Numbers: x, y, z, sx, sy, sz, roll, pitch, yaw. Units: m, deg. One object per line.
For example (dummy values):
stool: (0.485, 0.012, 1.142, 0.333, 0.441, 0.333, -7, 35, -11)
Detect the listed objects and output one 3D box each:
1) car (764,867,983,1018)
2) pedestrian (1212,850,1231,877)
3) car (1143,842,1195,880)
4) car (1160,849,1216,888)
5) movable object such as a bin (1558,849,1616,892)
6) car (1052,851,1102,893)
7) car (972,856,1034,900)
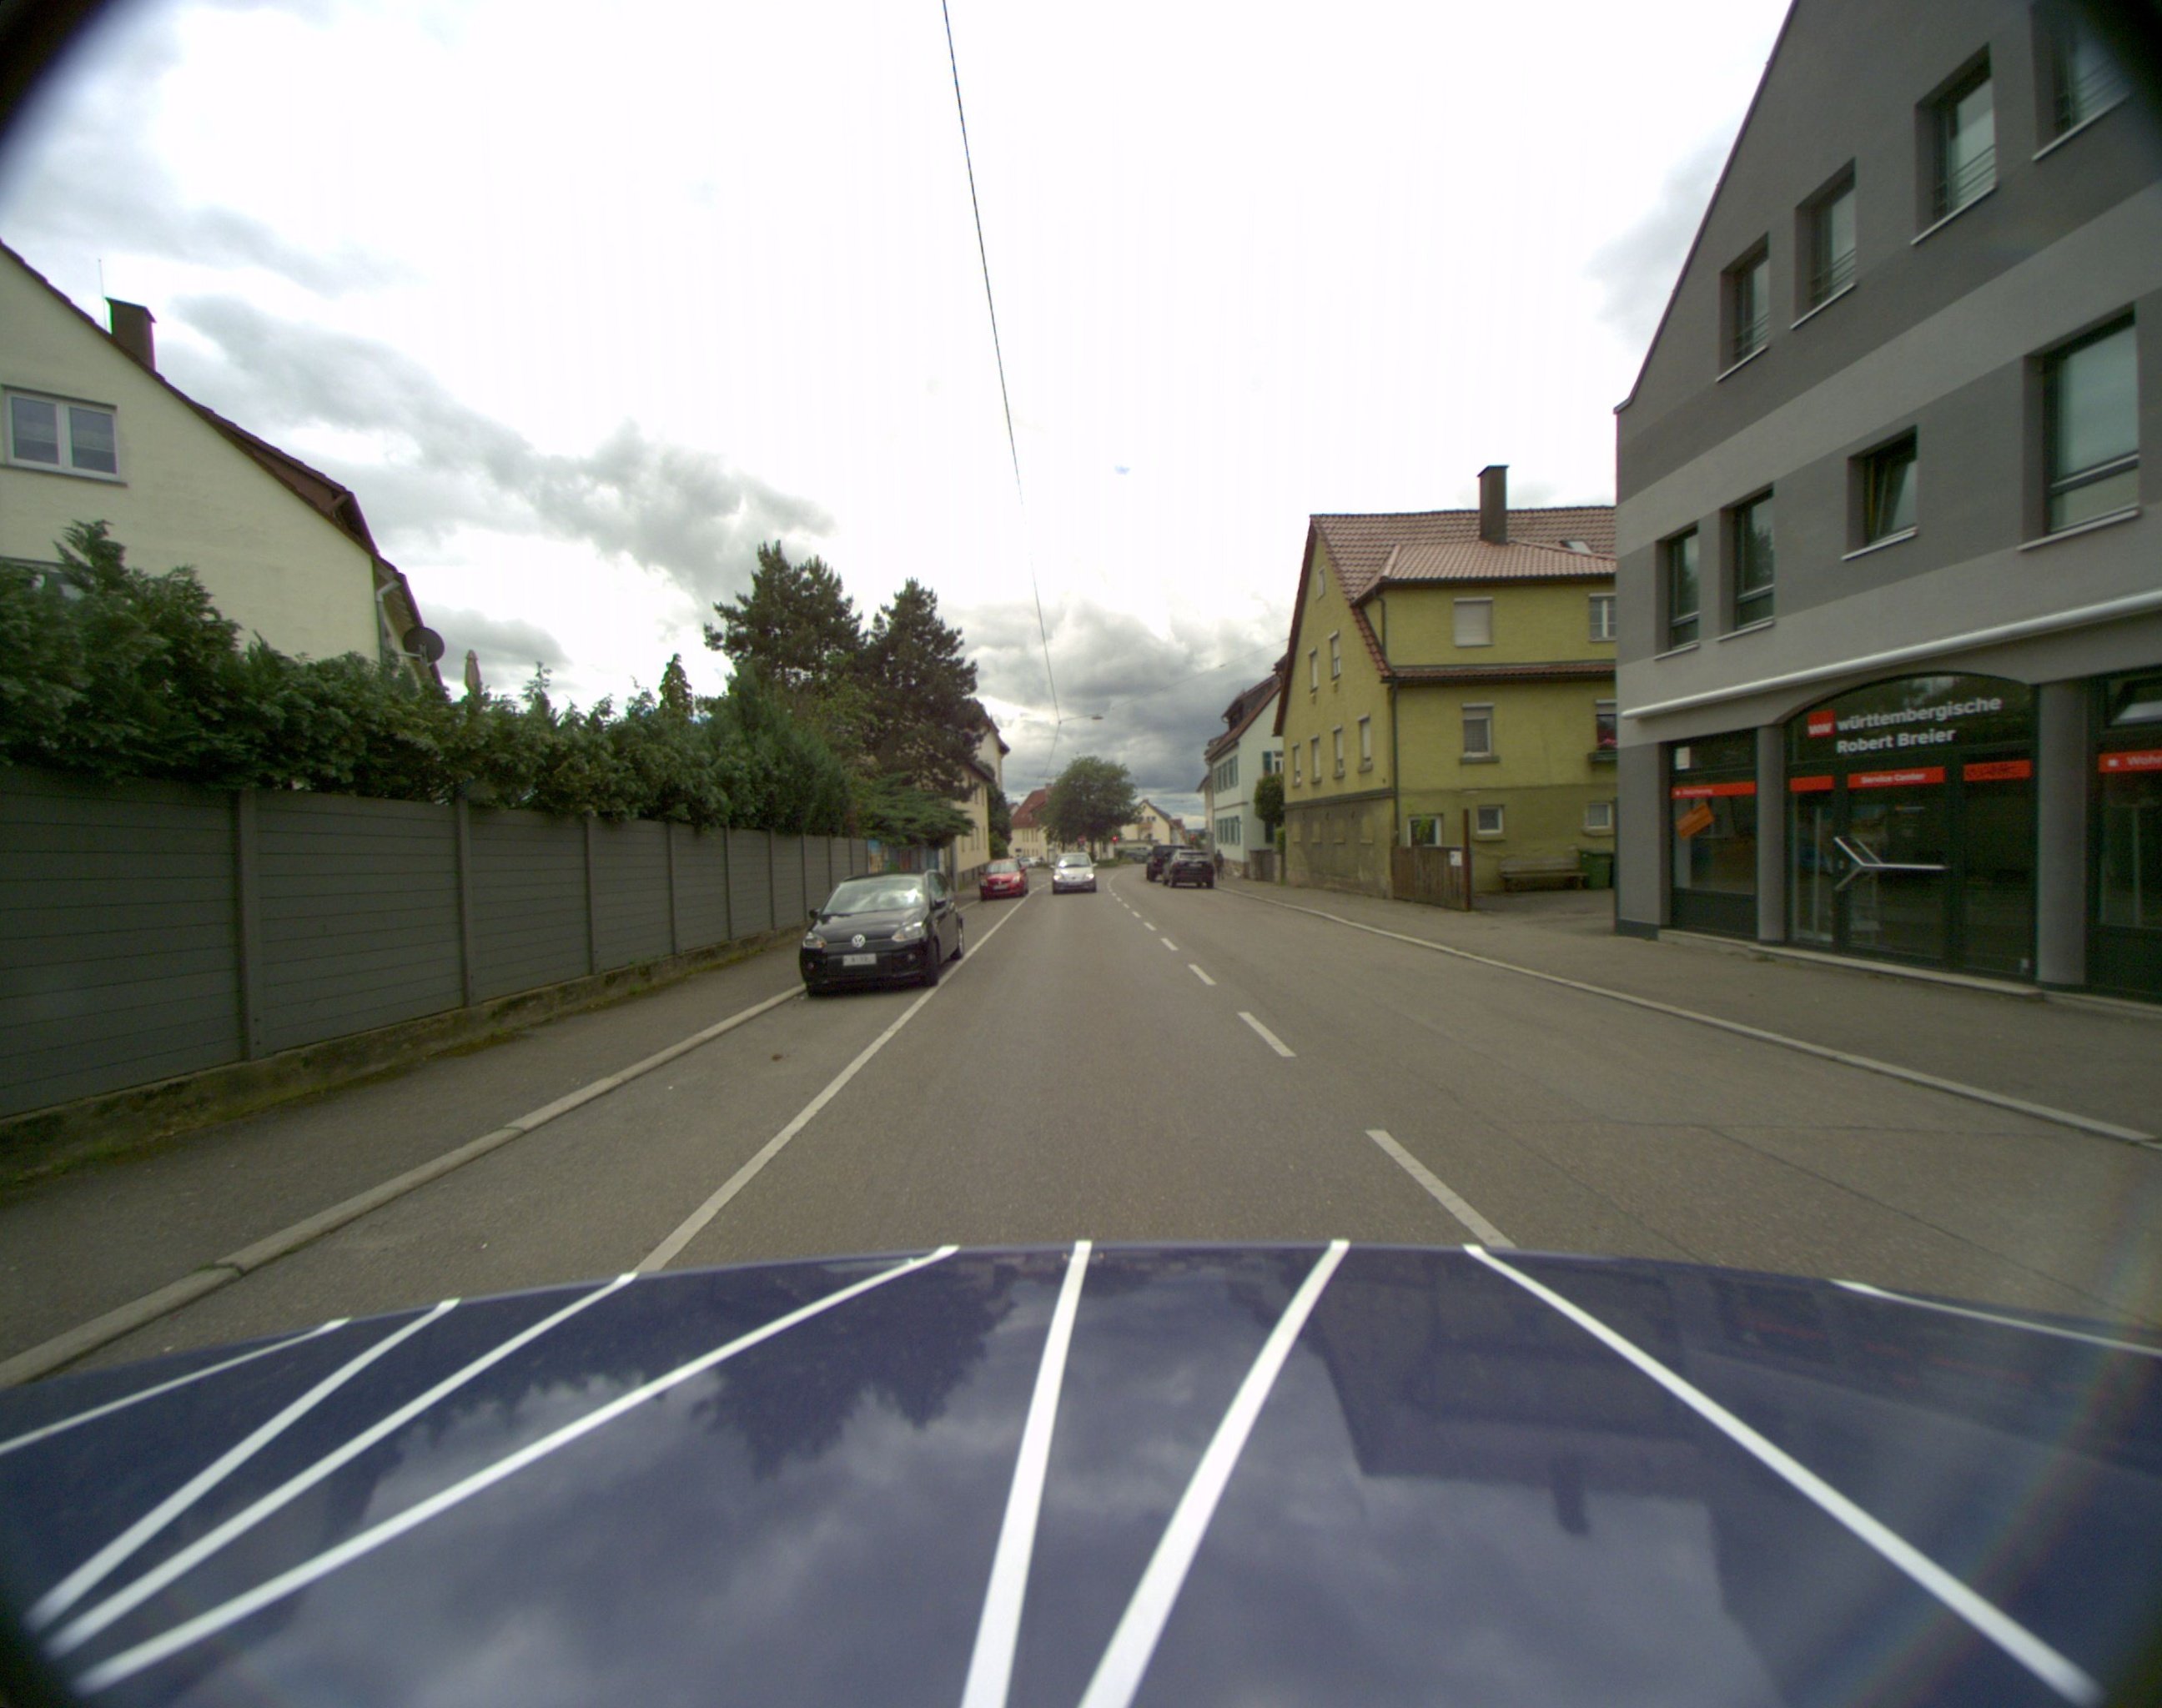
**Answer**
car: (-2.633, 1.052, 10.698, 1.819, 1.472, 4.000, -5, 0, 1)
pedestrian: (7.102, 0.483, 38.411, 0.832, 1.368, 0.551, -1, 1, 1)
car: (4.482, 0.345, 39.380, 2.112, 1.839, 4.351, -1, 0, -1)
car: (4.580, 0.592, 32.990, 1.718, 1.559, 4.351, -1, 0, -1)
movable object such as a bin: (13.070, 0.419, 19.639, 0.926, 1.066, 0.839, -1, 1, 1)
car: (-0.192, 0.672, 31.049, 1.858, 1.548, 4.351, -1, 0, -1)
car: (-3.043, 0.905, 30.563, 1.995, 1.490, 4.351, -4, 0, -1)
